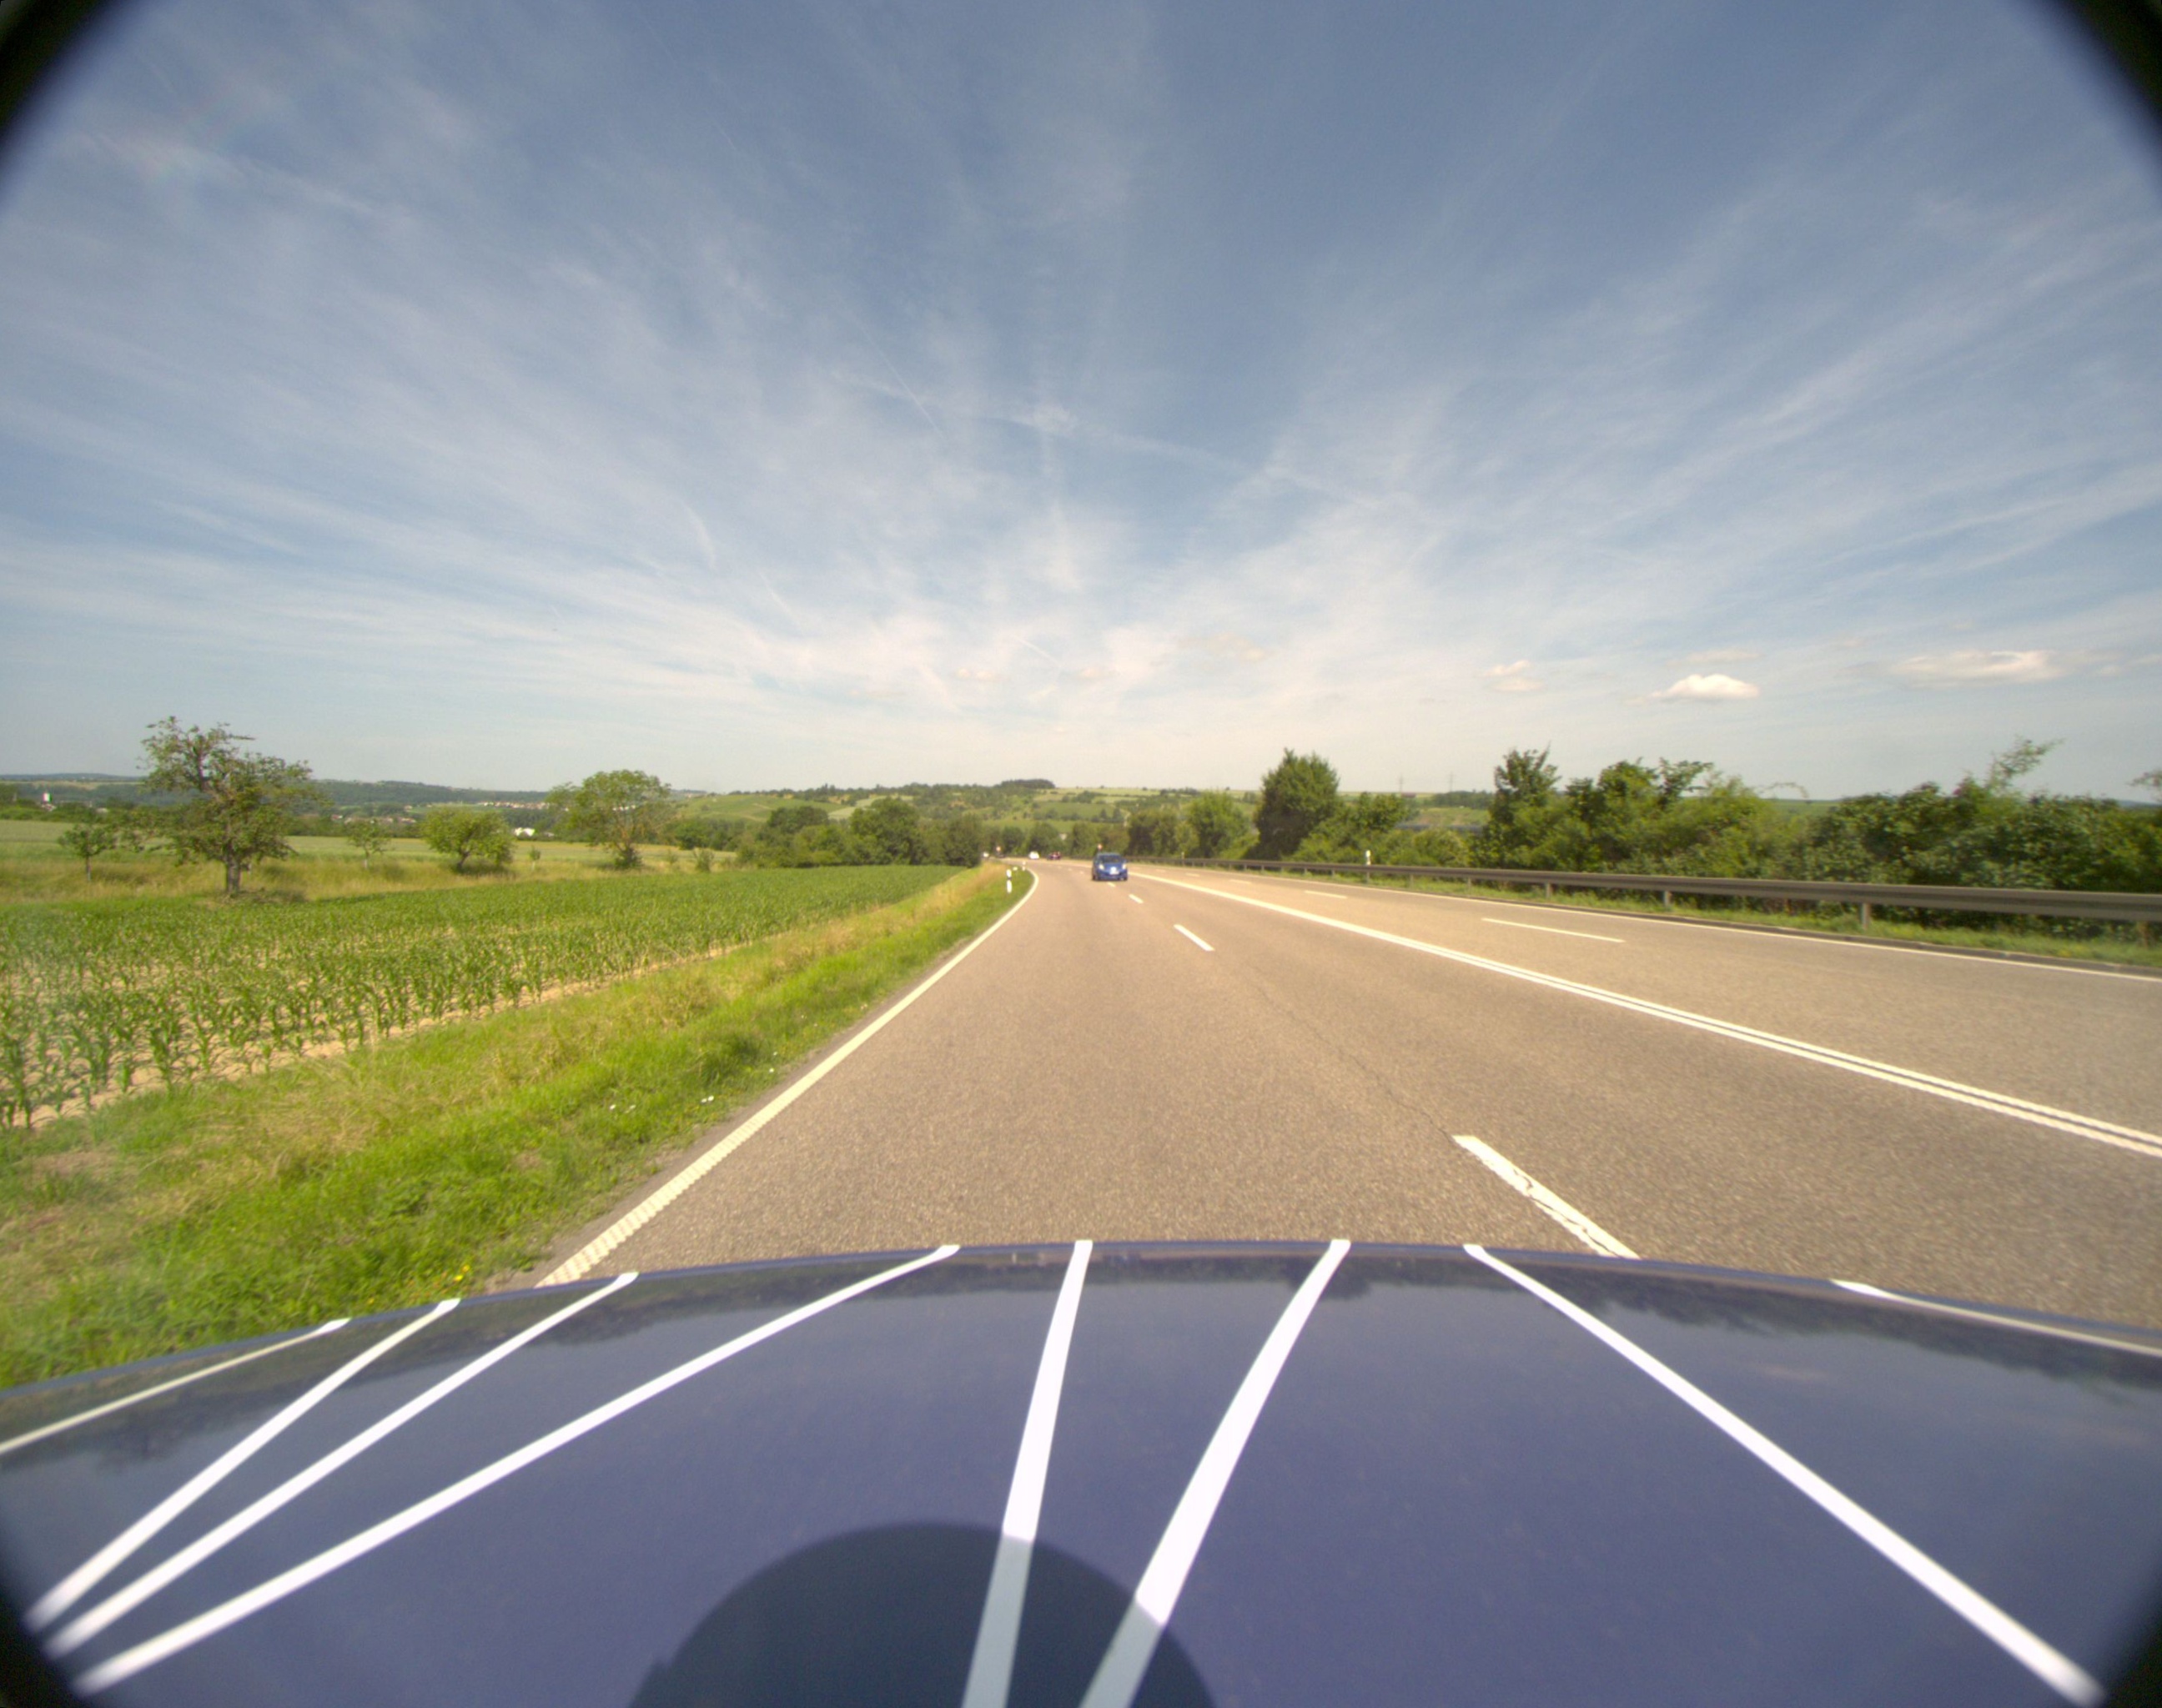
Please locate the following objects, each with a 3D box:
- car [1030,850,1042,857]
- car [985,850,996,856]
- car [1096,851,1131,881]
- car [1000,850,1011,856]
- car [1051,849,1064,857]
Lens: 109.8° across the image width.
[{"bbox_3d":[-9.532,-0.063,161.322,1.664,1.449,3.728,-1,1,-18],"label":"car"},{"bbox_3d":[-24.629,-0.386,206.870,1.820,1.559,4.675,-1,1,-21],"label":"car"},{"bbox_3d":[1.792,0.637,43.031,1.636,1.522,3.914,-2,1,-2],"label":"car"},{"bbox_3d":[-18.976,-0.354,190.305,1.725,1.453,4.207,-1,1,-21],"label":"car"},{"bbox_3d":[-4.466,-0.168,144.549,1.843,1.447,4.321,0,1,-12],"label":"car"}]
